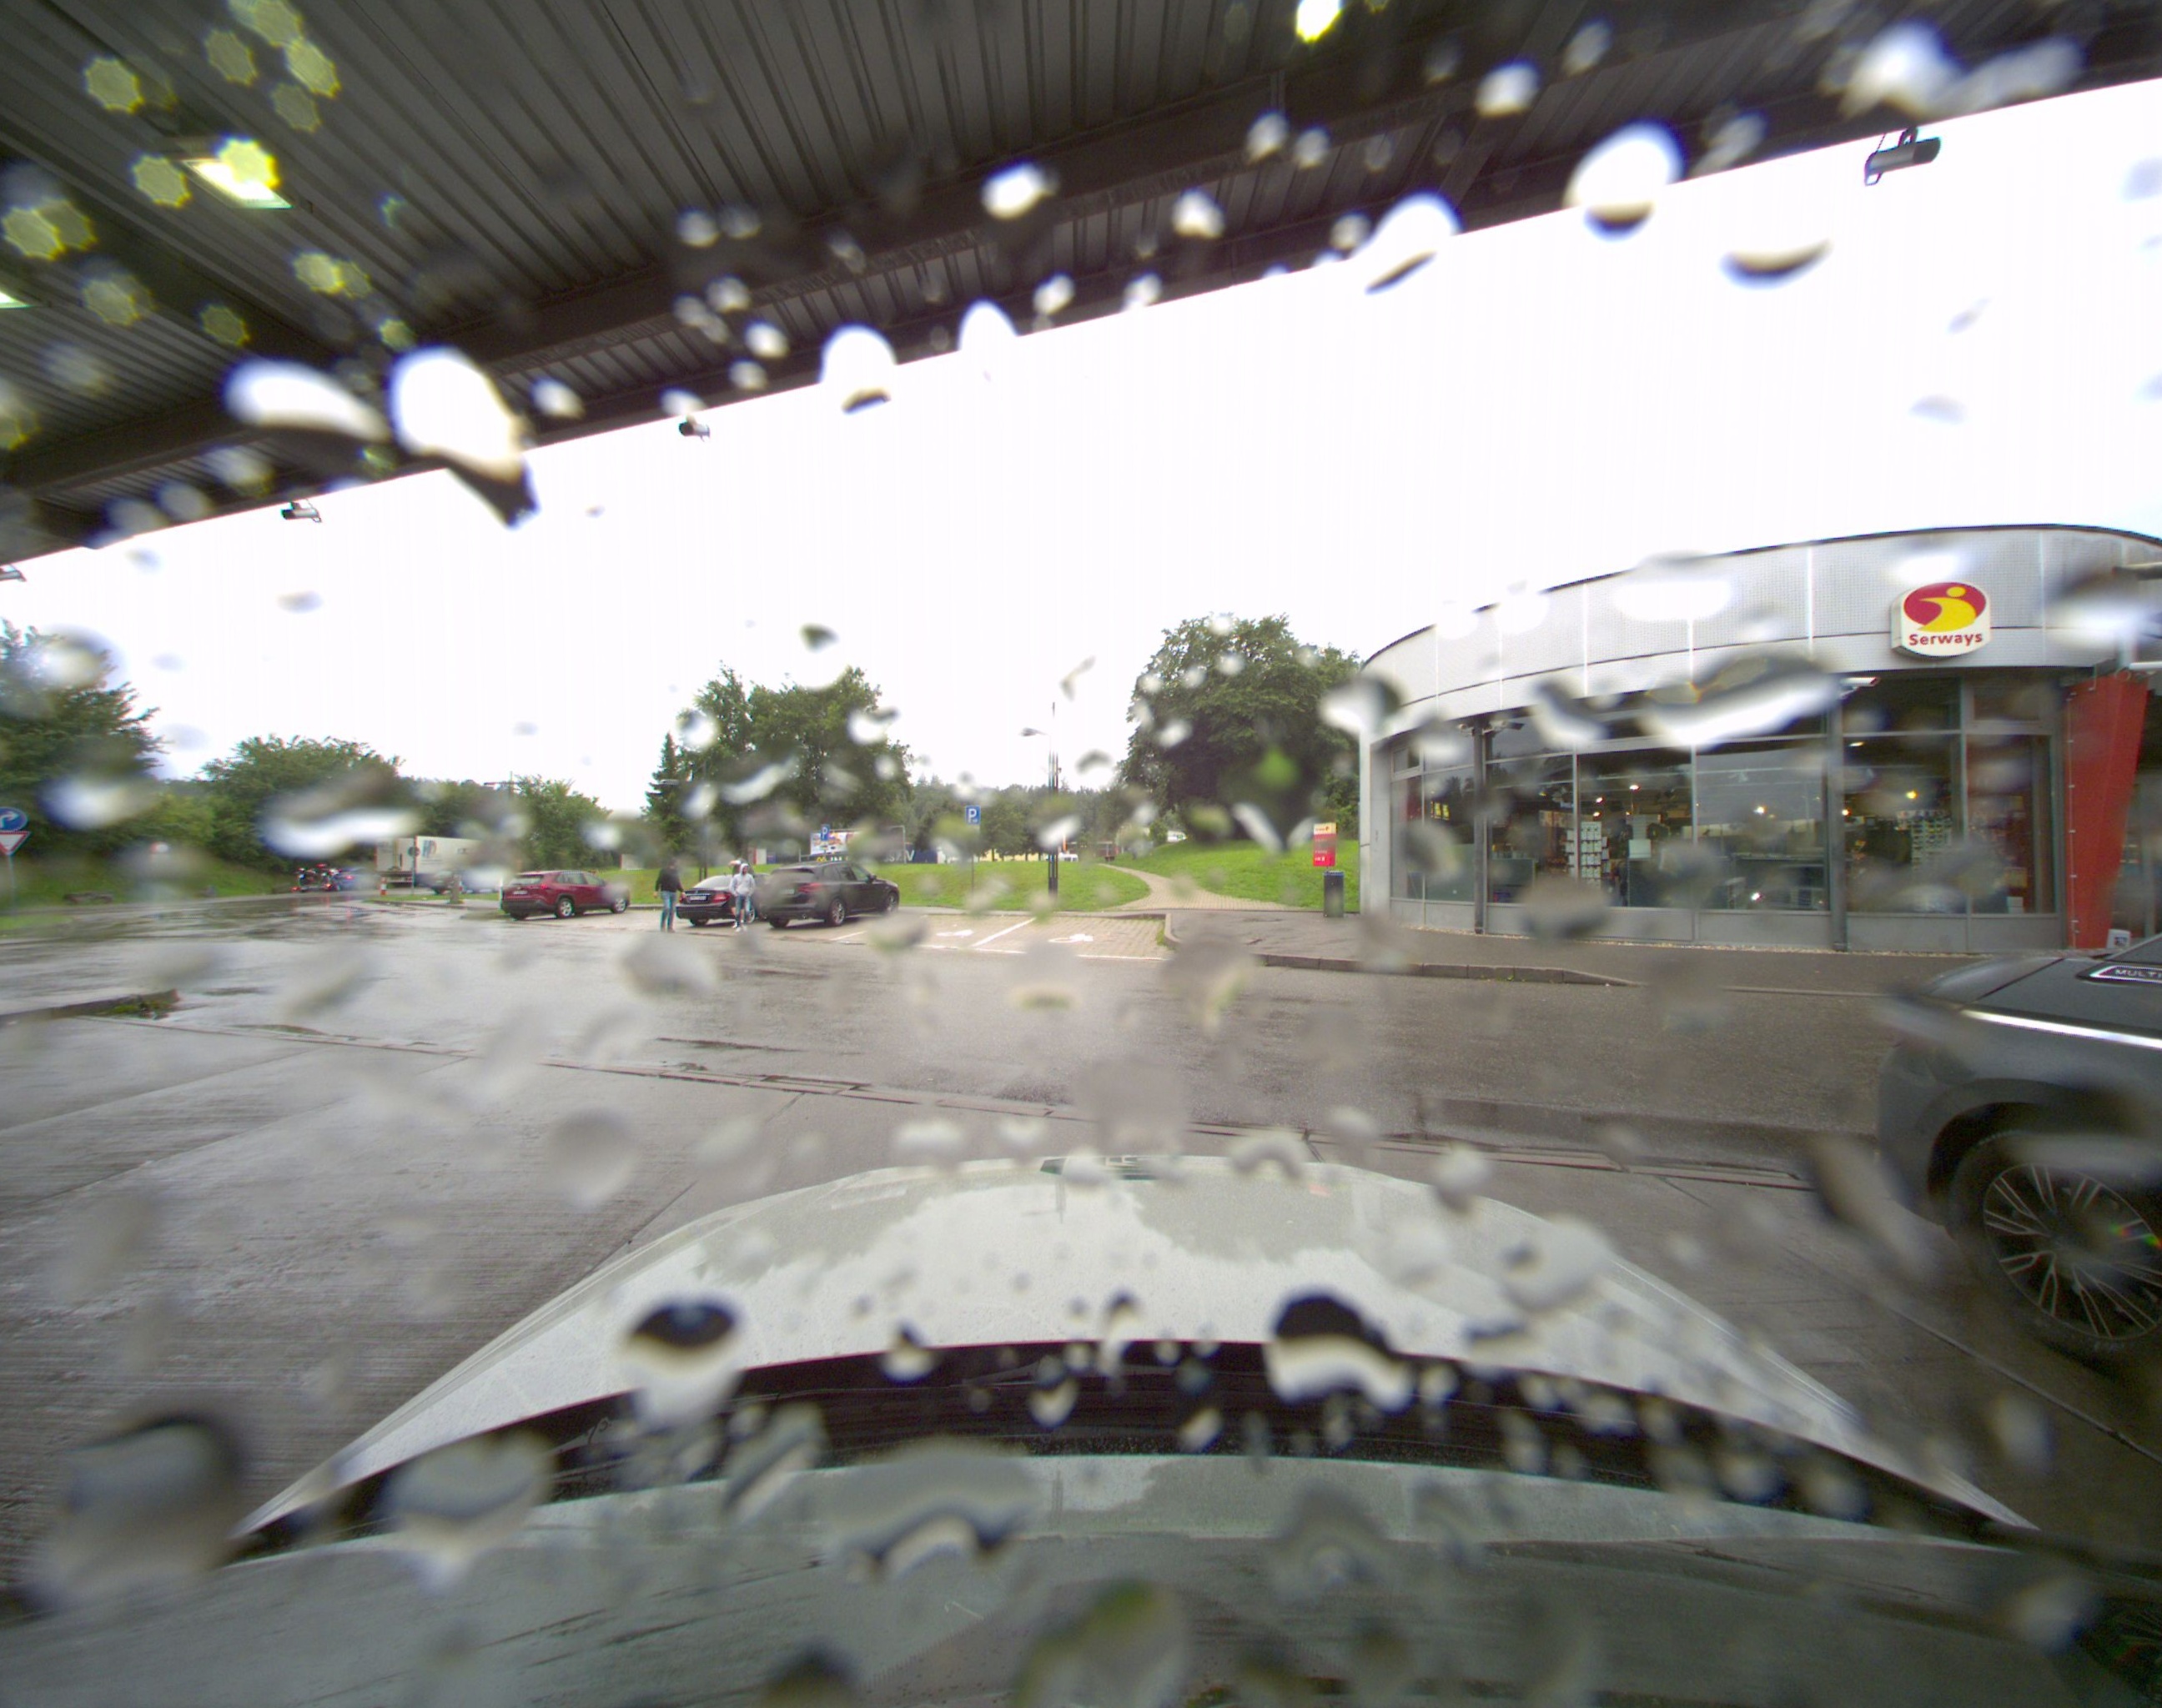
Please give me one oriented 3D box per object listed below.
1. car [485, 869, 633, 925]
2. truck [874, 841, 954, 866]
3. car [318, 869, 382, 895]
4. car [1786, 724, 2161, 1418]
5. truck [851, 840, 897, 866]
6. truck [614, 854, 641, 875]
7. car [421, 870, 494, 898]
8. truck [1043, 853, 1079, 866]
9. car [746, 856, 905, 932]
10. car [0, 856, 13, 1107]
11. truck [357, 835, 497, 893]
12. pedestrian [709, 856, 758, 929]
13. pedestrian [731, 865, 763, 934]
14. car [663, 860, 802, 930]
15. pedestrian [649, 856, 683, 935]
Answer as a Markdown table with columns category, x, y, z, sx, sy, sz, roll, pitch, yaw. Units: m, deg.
| category | x | y | z | sx | sy | sz | roll | pitch | yaw |
| --- | --- | --- | --- | --- | --- | --- | --- | --- | --- |
| car | -18.135 | 1.447 | 28.586 | 1.928 | 1.644 | 4.352 | -2 | 0 | 7 |
| truck | -20.754 | -0.045 | 102.340 | 2.165 | 2.920 | 13.175 | -1 | -1 | 26 |
| car | -50.342 | 1.890 | 56.165 | 1.814 | 1.681 | 3.927 | 0 | -1 | -18 |
| car | 3.678 | 0.545 | 0.673 | 1.854 | 1.798 | 5.142 | 0 | -1 | 2 |
| truck | -24.186 | -0.077 | 95.449 | 2.165 | 2.920 | 5.419 | -1 | -1 | 27 |
| truck | -69.777 | 1.549 | 125.354 | 2.485 | 3.085 | 7.307 | 0 | -1 | -20 |
| car | -40.931 | 1.944 | 53.597 | 1.990 | 1.678 | 3.992 | -1 | -1 | -5 |
| truck | -3.250 | 0.887 | 134.100 | 5.356 | 2.014 | 2.381 | -1 | -1 | 26 |
| car | -6.646 | 0.975 | 21.775 | 2.002 | 1.711 | 4.360 | -2 | 0 | 14 |
| car | -7.964 | 0.806 | 2.671 | 1.854 | 1.608 | 5.273 | 0 | -1 | 2 |
| truck | -55.444 | 0.851 | 69.969 | 3.550 | 4.340 | 16.899 | 0 | -1 | -18 |
| pedestrian | -9.122 | 0.999 | 21.377 | 0.943 | 1.887 | 0.707 | -1 | -1 | 18 |
| pedestrian | -8.177 | 1.080 | 19.939 | 0.704 | 1.631 | 0.947 | 0 | -1 | -22 |
| car | -9.832 | 1.086 | 23.419 | 2.010 | 1.711 | 4.344 | -2 | 0 | 1 |
| pedestrian | -10.212 | 0.998 | 20.053 | 0.706 | 1.887 | 0.885 | 0 | -1 | -30 |
